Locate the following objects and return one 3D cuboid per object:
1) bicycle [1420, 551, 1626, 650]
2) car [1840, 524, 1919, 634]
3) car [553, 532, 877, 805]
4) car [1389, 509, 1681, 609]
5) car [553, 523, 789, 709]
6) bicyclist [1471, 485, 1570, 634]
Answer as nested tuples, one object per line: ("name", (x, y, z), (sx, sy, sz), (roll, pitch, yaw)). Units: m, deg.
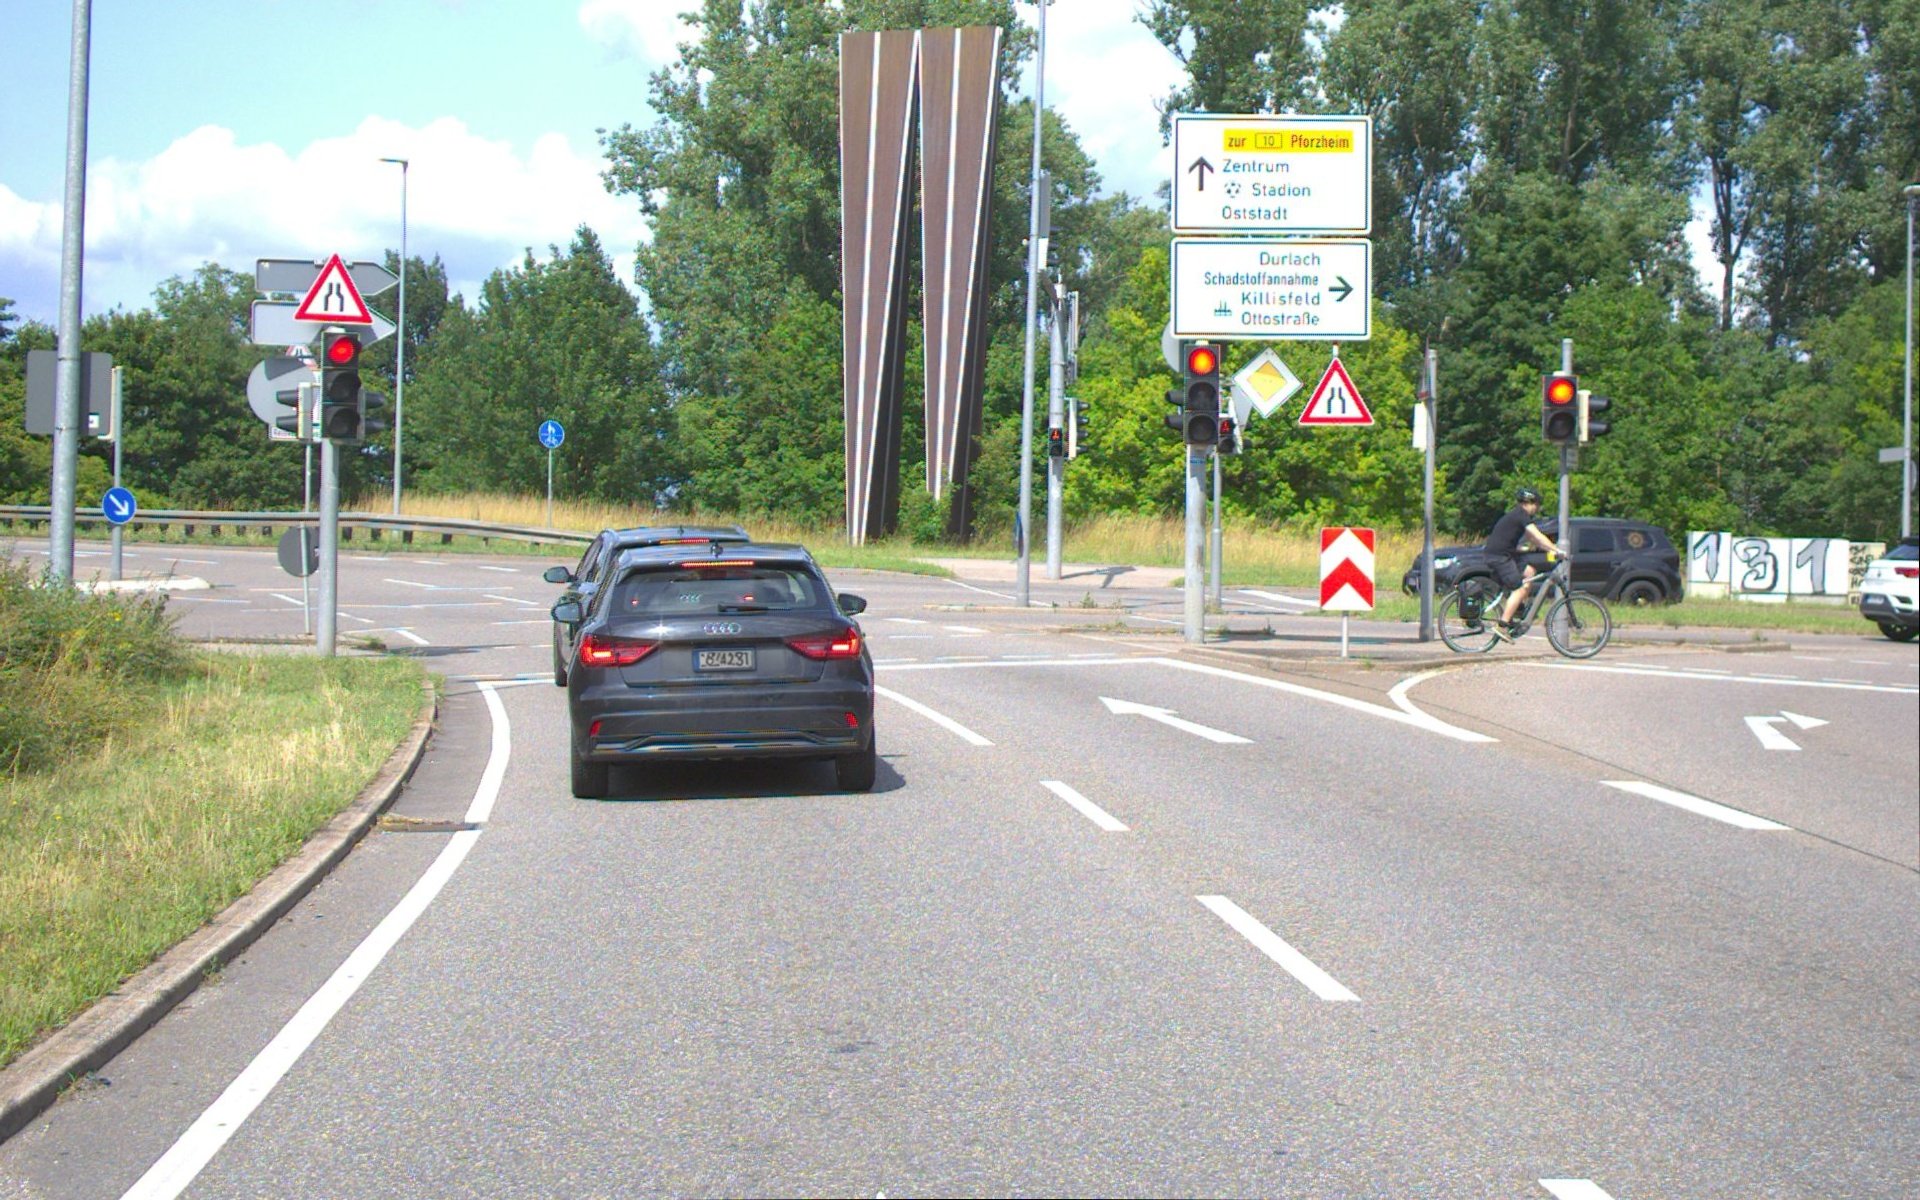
("bicycle", (6.014, 0.007, 36.724), (2.052, 1.020, 0.672), (1, 1, -14))
("car", (14.548, -0.229, 47.860), (4.032, 1.471, 1.737), (2, 1, -10))
("car", (-1.491, 0.328, 20.634), (1.726, 1.399, 4.001), (-1, 2, -5))
("car", (9.156, -0.668, 54.917), (4.267, 1.539, 1.737), (1, 1, -5))
("car", (-2.533, 0.080, 29.427), (1.726, 1.418, 3.846), (-1, 2, -9))
("bicyclist", (5.970, -0.433, 36.644), (0.834, 1.555, 0.672), (1, 1, -11))
